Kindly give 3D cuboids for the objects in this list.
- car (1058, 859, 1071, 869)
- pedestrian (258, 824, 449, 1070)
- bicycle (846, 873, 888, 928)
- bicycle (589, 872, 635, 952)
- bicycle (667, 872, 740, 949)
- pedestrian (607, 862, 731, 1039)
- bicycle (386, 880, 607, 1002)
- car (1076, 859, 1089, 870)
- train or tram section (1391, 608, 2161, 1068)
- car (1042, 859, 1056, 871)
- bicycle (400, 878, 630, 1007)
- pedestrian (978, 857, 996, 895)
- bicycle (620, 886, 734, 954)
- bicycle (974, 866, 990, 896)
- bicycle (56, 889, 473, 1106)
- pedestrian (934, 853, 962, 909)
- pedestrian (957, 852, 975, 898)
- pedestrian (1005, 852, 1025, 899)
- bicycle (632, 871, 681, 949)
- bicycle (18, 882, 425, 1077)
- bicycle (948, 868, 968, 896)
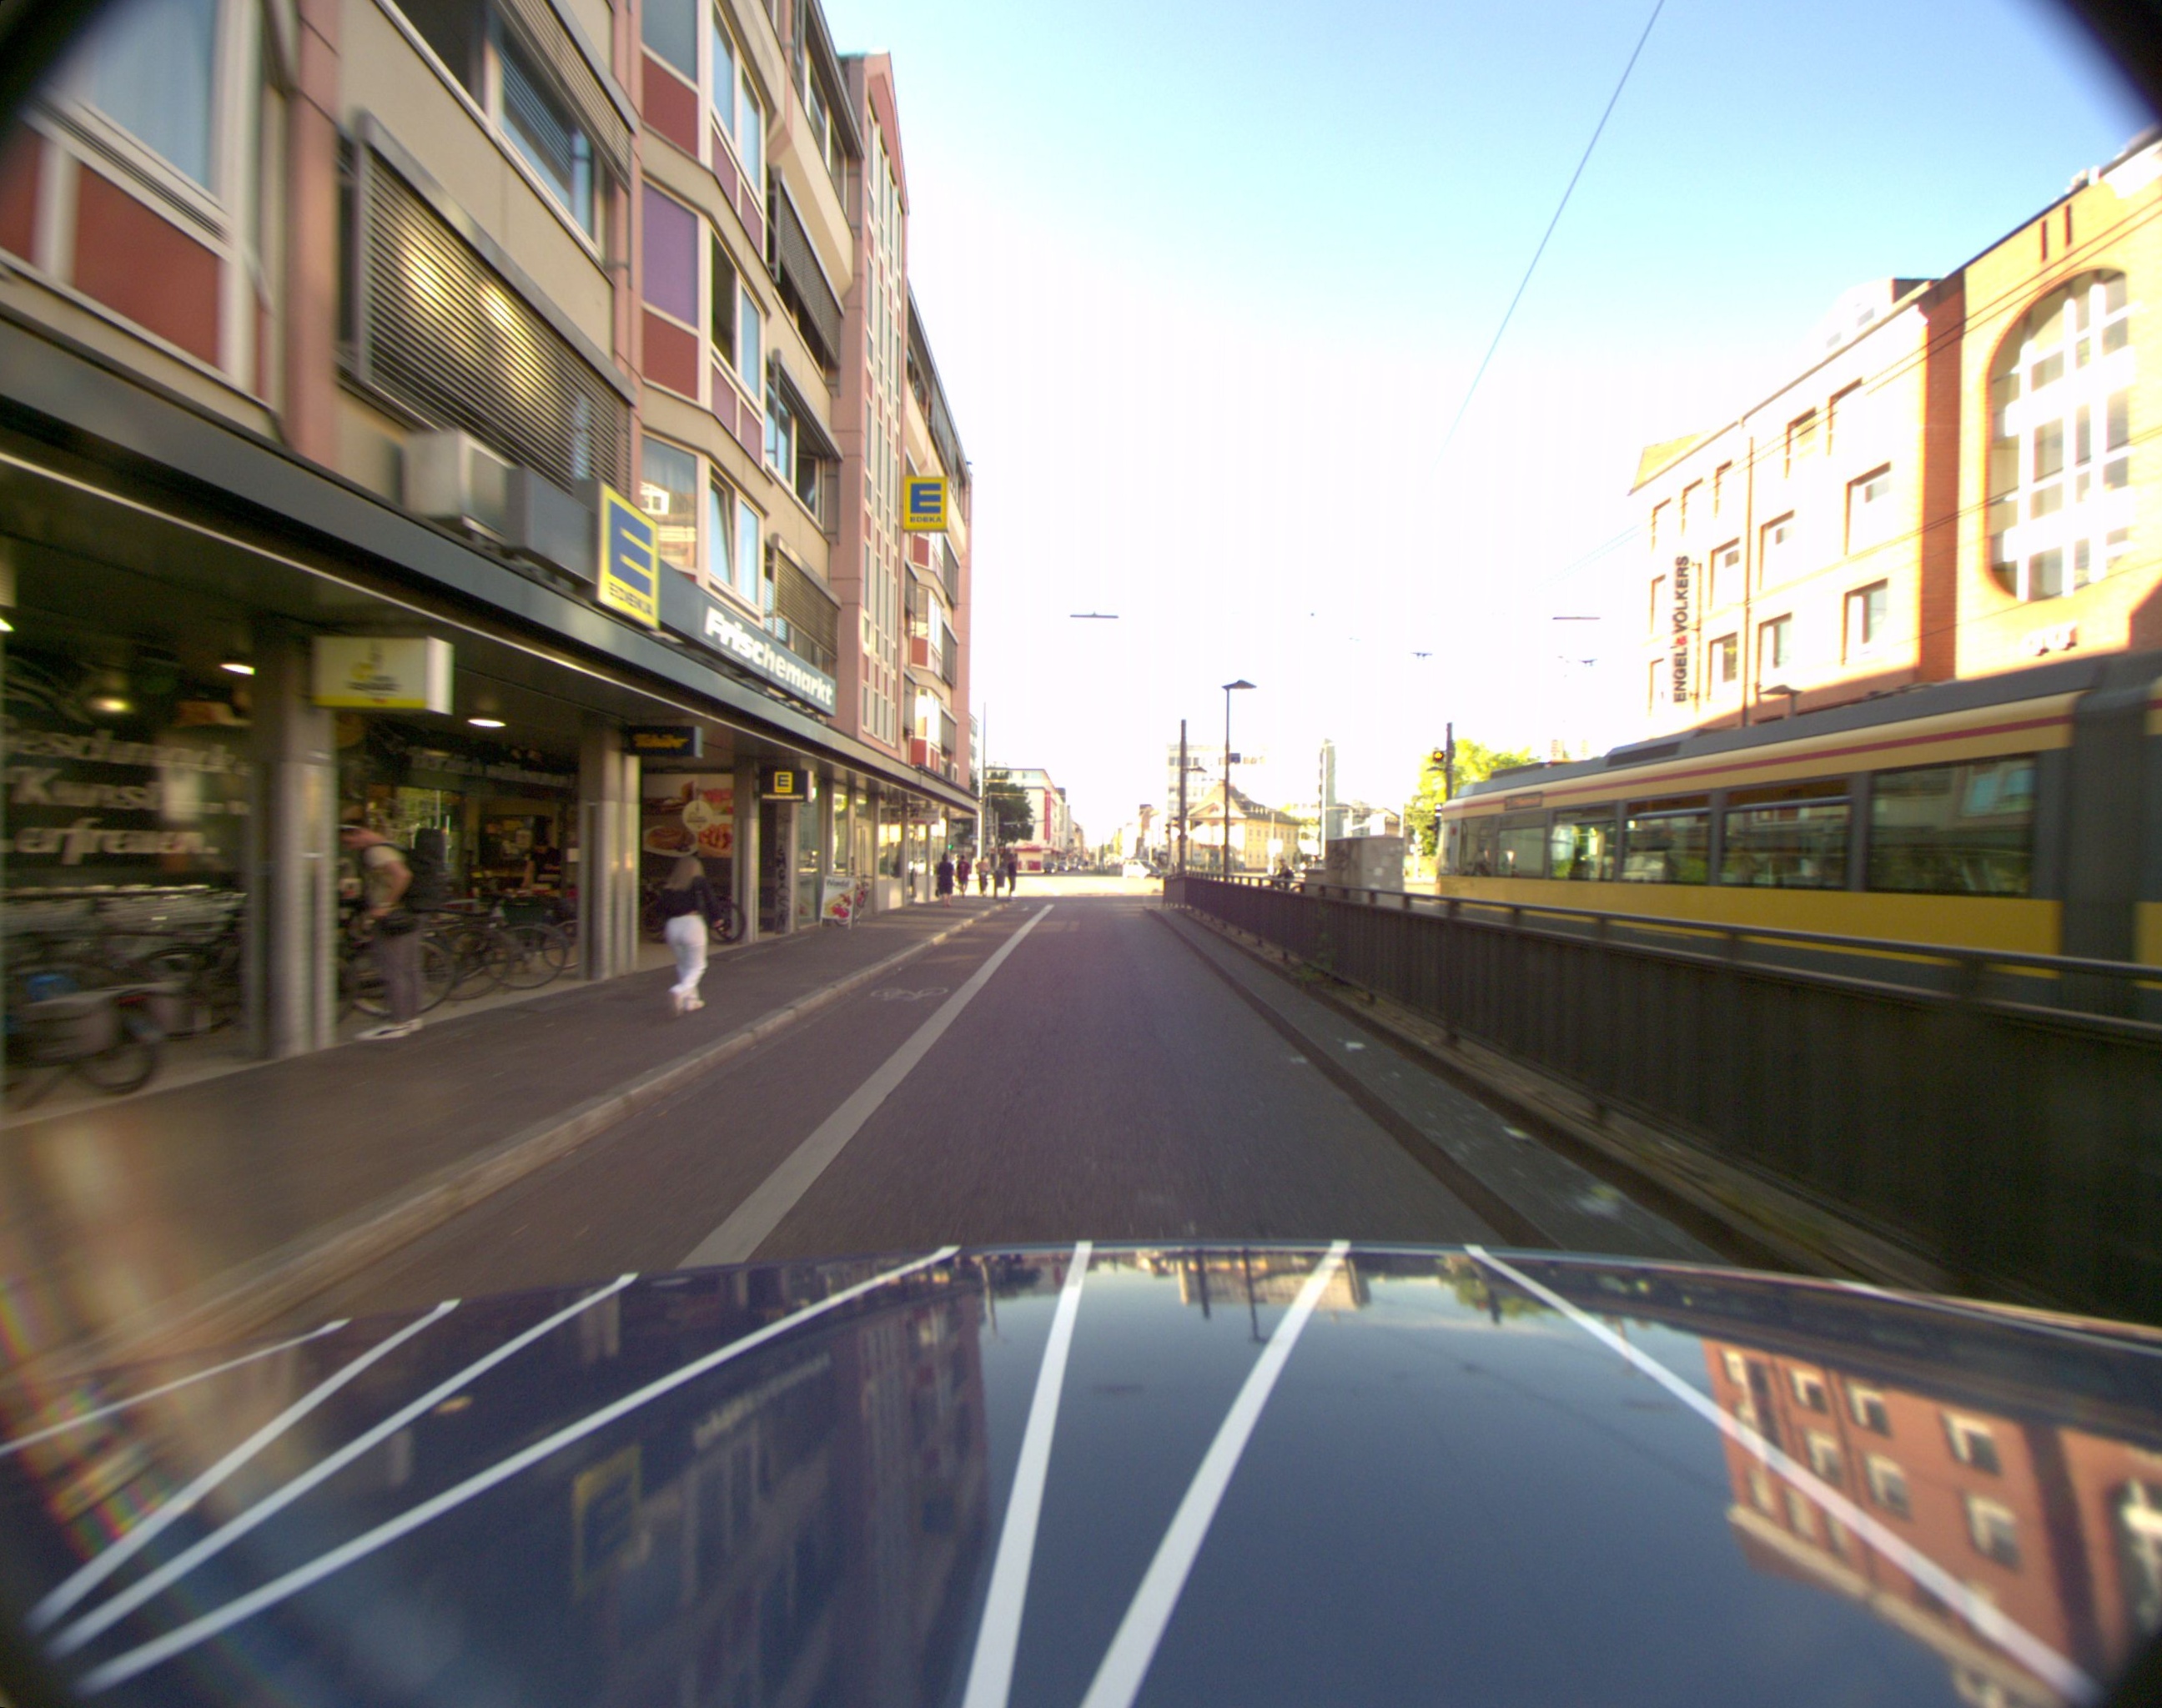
[{"bbox_3d":[-2.336,1.380,106.910,1.771,1.458,3.812,0,0,-2],"label":"car"},{"bbox_3d":[-5.386,0.666,5.679,0.789,1.711,0.591,3,0,-17],"label":"pedestrian"},{"bbox_3d":[-4.668,0.990,16.636,0.516,1.121,1.406,0,0,0],"label":"bicycle"},{"bbox_3d":[-7.647,0.910,12.427,0.423,1.193,1.478,0,0,-23],"label":"bicycle"},{"bbox_3d":[-6.357,0.914,12.774,1.477,1.193,0.483,1,0,37],"label":"bicycle"},{"bbox_3d":[-3.770,0.849,7.013,0.667,1.512,0.789,3,0,-3],"label":"pedestrian"},{"bbox_3d":[-6.952,0.970,9.191,0.555,1.229,2.088,0,0,25],"label":"bicycle"},{"bbox_3d":[0.166,1.739,127.106,1.999,1.683,3.999,0,0,-3],"label":"car"},{"bbox_3d":[9.492,-0.138,12.958,2.981,3.623,13.945,-1,0,1],"label":"train or tram section"},{"bbox_3d":[-4.163,1.404,98.365,1.771,1.458,3.812,0,0,-2],"label":"car"},{"bbox_3d":[-6.347,0.922,8.692,0.555,1.229,2.088,0,0,25],"label":"bicycle"},{"bbox_3d":[-4.055,0.940,32.710,0.655,1.597,0.595,-1,0,-13],"label":"pedestrian"},{"bbox_3d":[-6.257,1.014,11.803,1.513,1.035,0.435,0,-1,-2],"label":"bicycle"},{"bbox_3d":[-4.216,1.135,32.181,0.430,1.206,1.822,-1,0,-14],"label":"bicycle"},{"bbox_3d":[-5.920,0.934,5.726,0.470,1.244,2.088,0,0,25],"label":"bicycle"},{"bbox_3d":[-3.911,0.779,22.327,0.709,1.604,0.495,1,1,1],"label":"pedestrian"},{"bbox_3d":[-4.525,0.818,29.926,0.671,1.751,0.679,-1,0,-9],"label":"pedestrian"},{"bbox_3d":[-2.646,0.856,30.456,0.680,1.832,0.606,-1,0,-11],"label":"pedestrian"},{"bbox_3d":[-7.122,0.904,12.722,0.423,1.193,1.477,0,0,-41],"label":"bicycle"},{"bbox_3d":[-6.865,0.900,6.270,0.575,1.246,2.120,-1,0,25],"label":"bicycle"},{"bbox_3d":[-5.526,1.237,34.048,0.483,1.165,1.756,-1,0,-23],"label":"bicycle"}]
